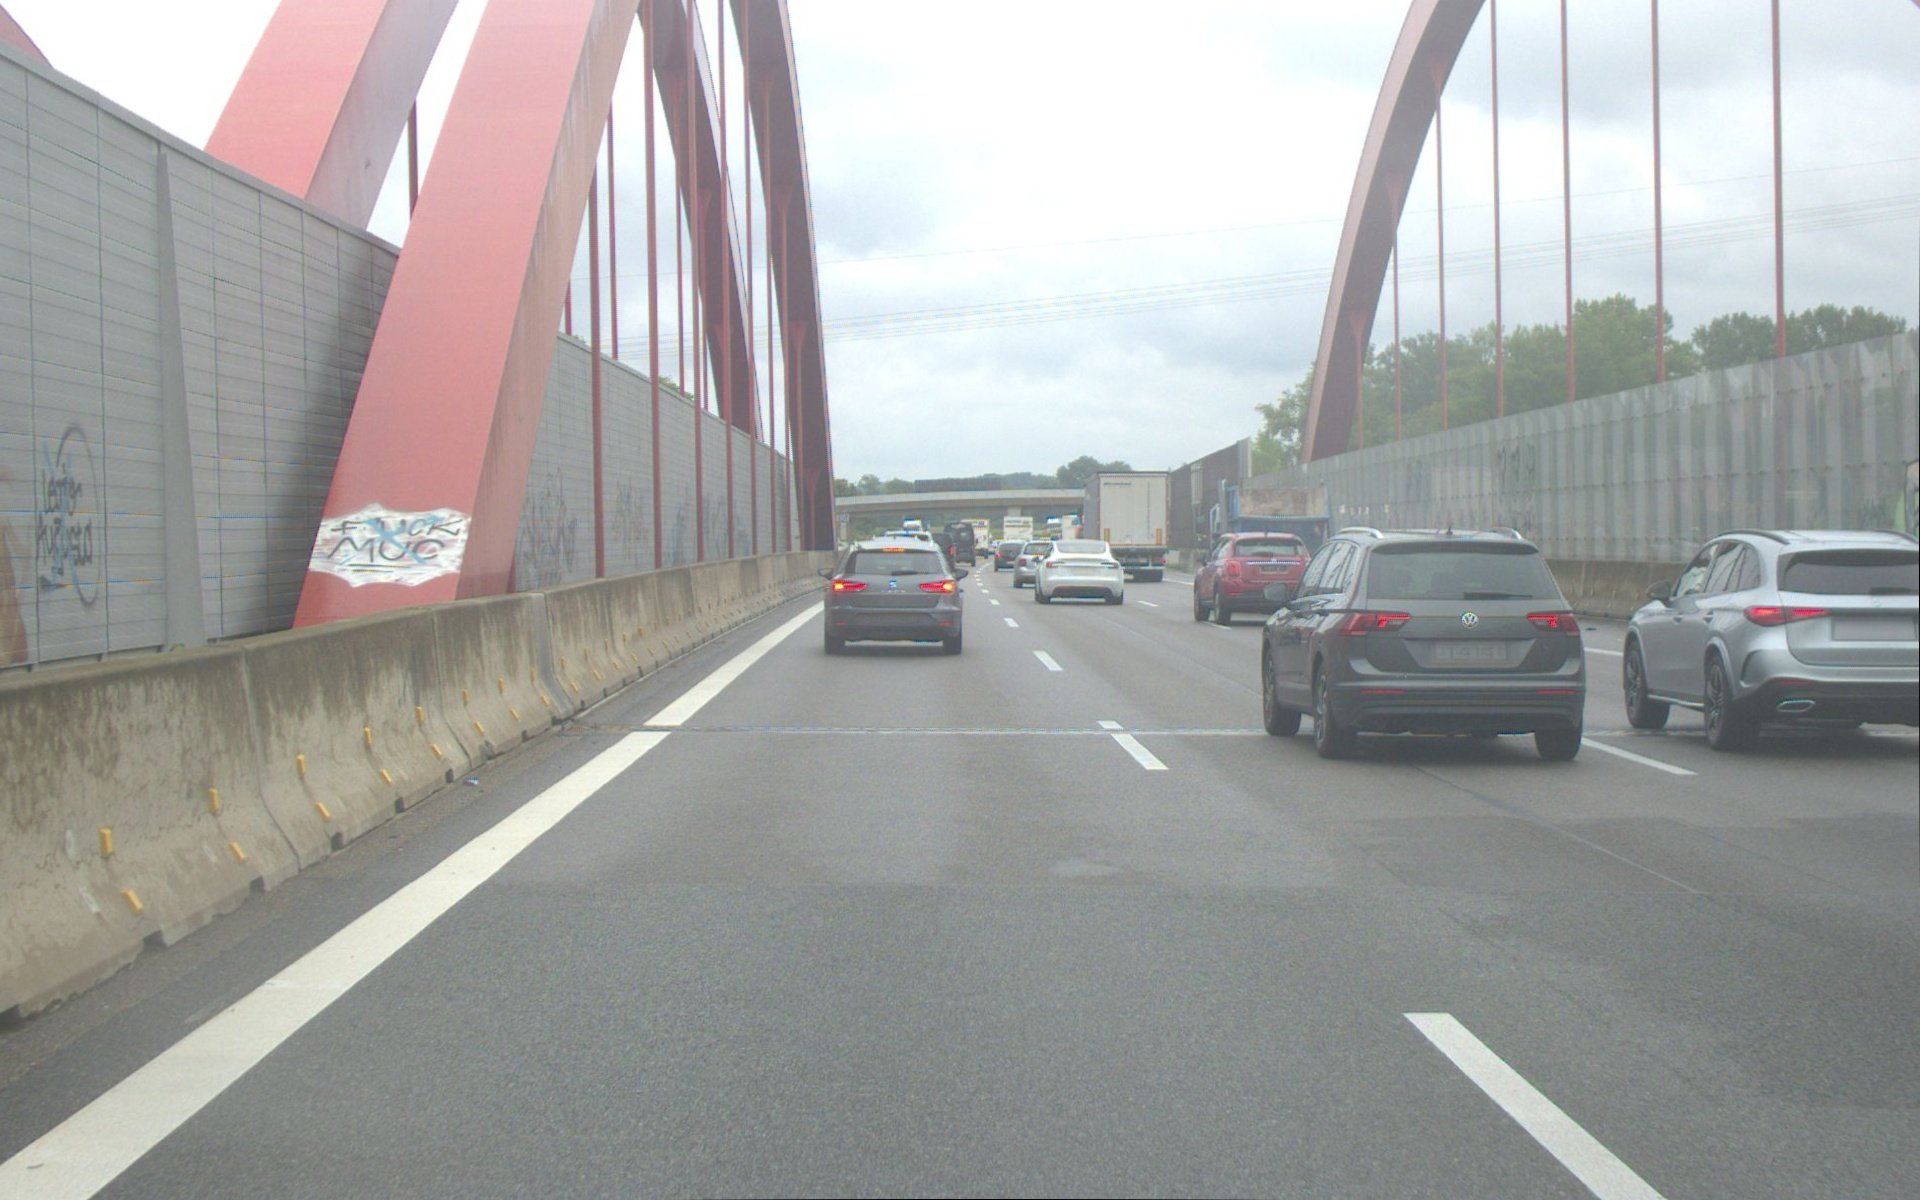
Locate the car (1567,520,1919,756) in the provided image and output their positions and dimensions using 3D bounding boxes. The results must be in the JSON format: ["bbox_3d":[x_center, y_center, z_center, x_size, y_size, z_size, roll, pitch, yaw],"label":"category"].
[{"bbox_3d":[6.278,0.223,26.460,1.993,1.613,5.329,1,1,-3],"label":"car"}]

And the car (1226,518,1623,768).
[{"bbox_3d":[3.256,0.248,24.942,1.911,1.664,4.105,0,1,-6],"label":"car"}]

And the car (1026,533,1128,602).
[{"bbox_3d":[2.555,-0.738,76.180,1.993,1.481,4.001,0,1,-2],"label":"car"}]

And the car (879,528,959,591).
[{"bbox_3d":[-0.961,-0.939,78.707,1.781,1.401,3.626,0,1,-2],"label":"car"}]

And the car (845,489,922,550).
[{"bbox_3d":[-2.076,-2.154,92.209,1.993,1.579,4.001,-1,1,-2],"label":"car"}]

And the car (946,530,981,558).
[{"bbox_3d":[0.224,-3.305,201.904,1.993,1.618,4.000,0,1,1],"label":"car"}]

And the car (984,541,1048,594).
[{"bbox_3d":[1.670,-0.992,103.659,1.702,1.538,3.839,1,1,-3],"label":"car"}]

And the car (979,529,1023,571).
[{"bbox_3d":[1.998,-2.440,168.426,1.993,2.007,4.000,1,1,-1],"label":"car"}]

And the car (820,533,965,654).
[{"bbox_3d":[-0.847,-0.118,43.976,1.763,1.448,4.000,0,1,-1],"label":"car"}]

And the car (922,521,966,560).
[{"bbox_3d":[-0.766,-2.817,162.705,1.993,1.809,4.000,0,1,-1],"label":"car"}]

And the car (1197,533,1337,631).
[{"bbox_3d":[5.288,-0.339,59.659,1.957,1.641,4.000,0,1,-2],"label":"car"}]

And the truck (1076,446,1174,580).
[{"bbox_3d":[6.034,-3.180,126.737,3.044,4.718,7.680,1,1,-1],"label":"truck"}]

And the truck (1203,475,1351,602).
[{"bbox_3d":[6.452,-1.278,70.736,2.361,2.498,6.144,0,1,-1],"label":"truck"}]
